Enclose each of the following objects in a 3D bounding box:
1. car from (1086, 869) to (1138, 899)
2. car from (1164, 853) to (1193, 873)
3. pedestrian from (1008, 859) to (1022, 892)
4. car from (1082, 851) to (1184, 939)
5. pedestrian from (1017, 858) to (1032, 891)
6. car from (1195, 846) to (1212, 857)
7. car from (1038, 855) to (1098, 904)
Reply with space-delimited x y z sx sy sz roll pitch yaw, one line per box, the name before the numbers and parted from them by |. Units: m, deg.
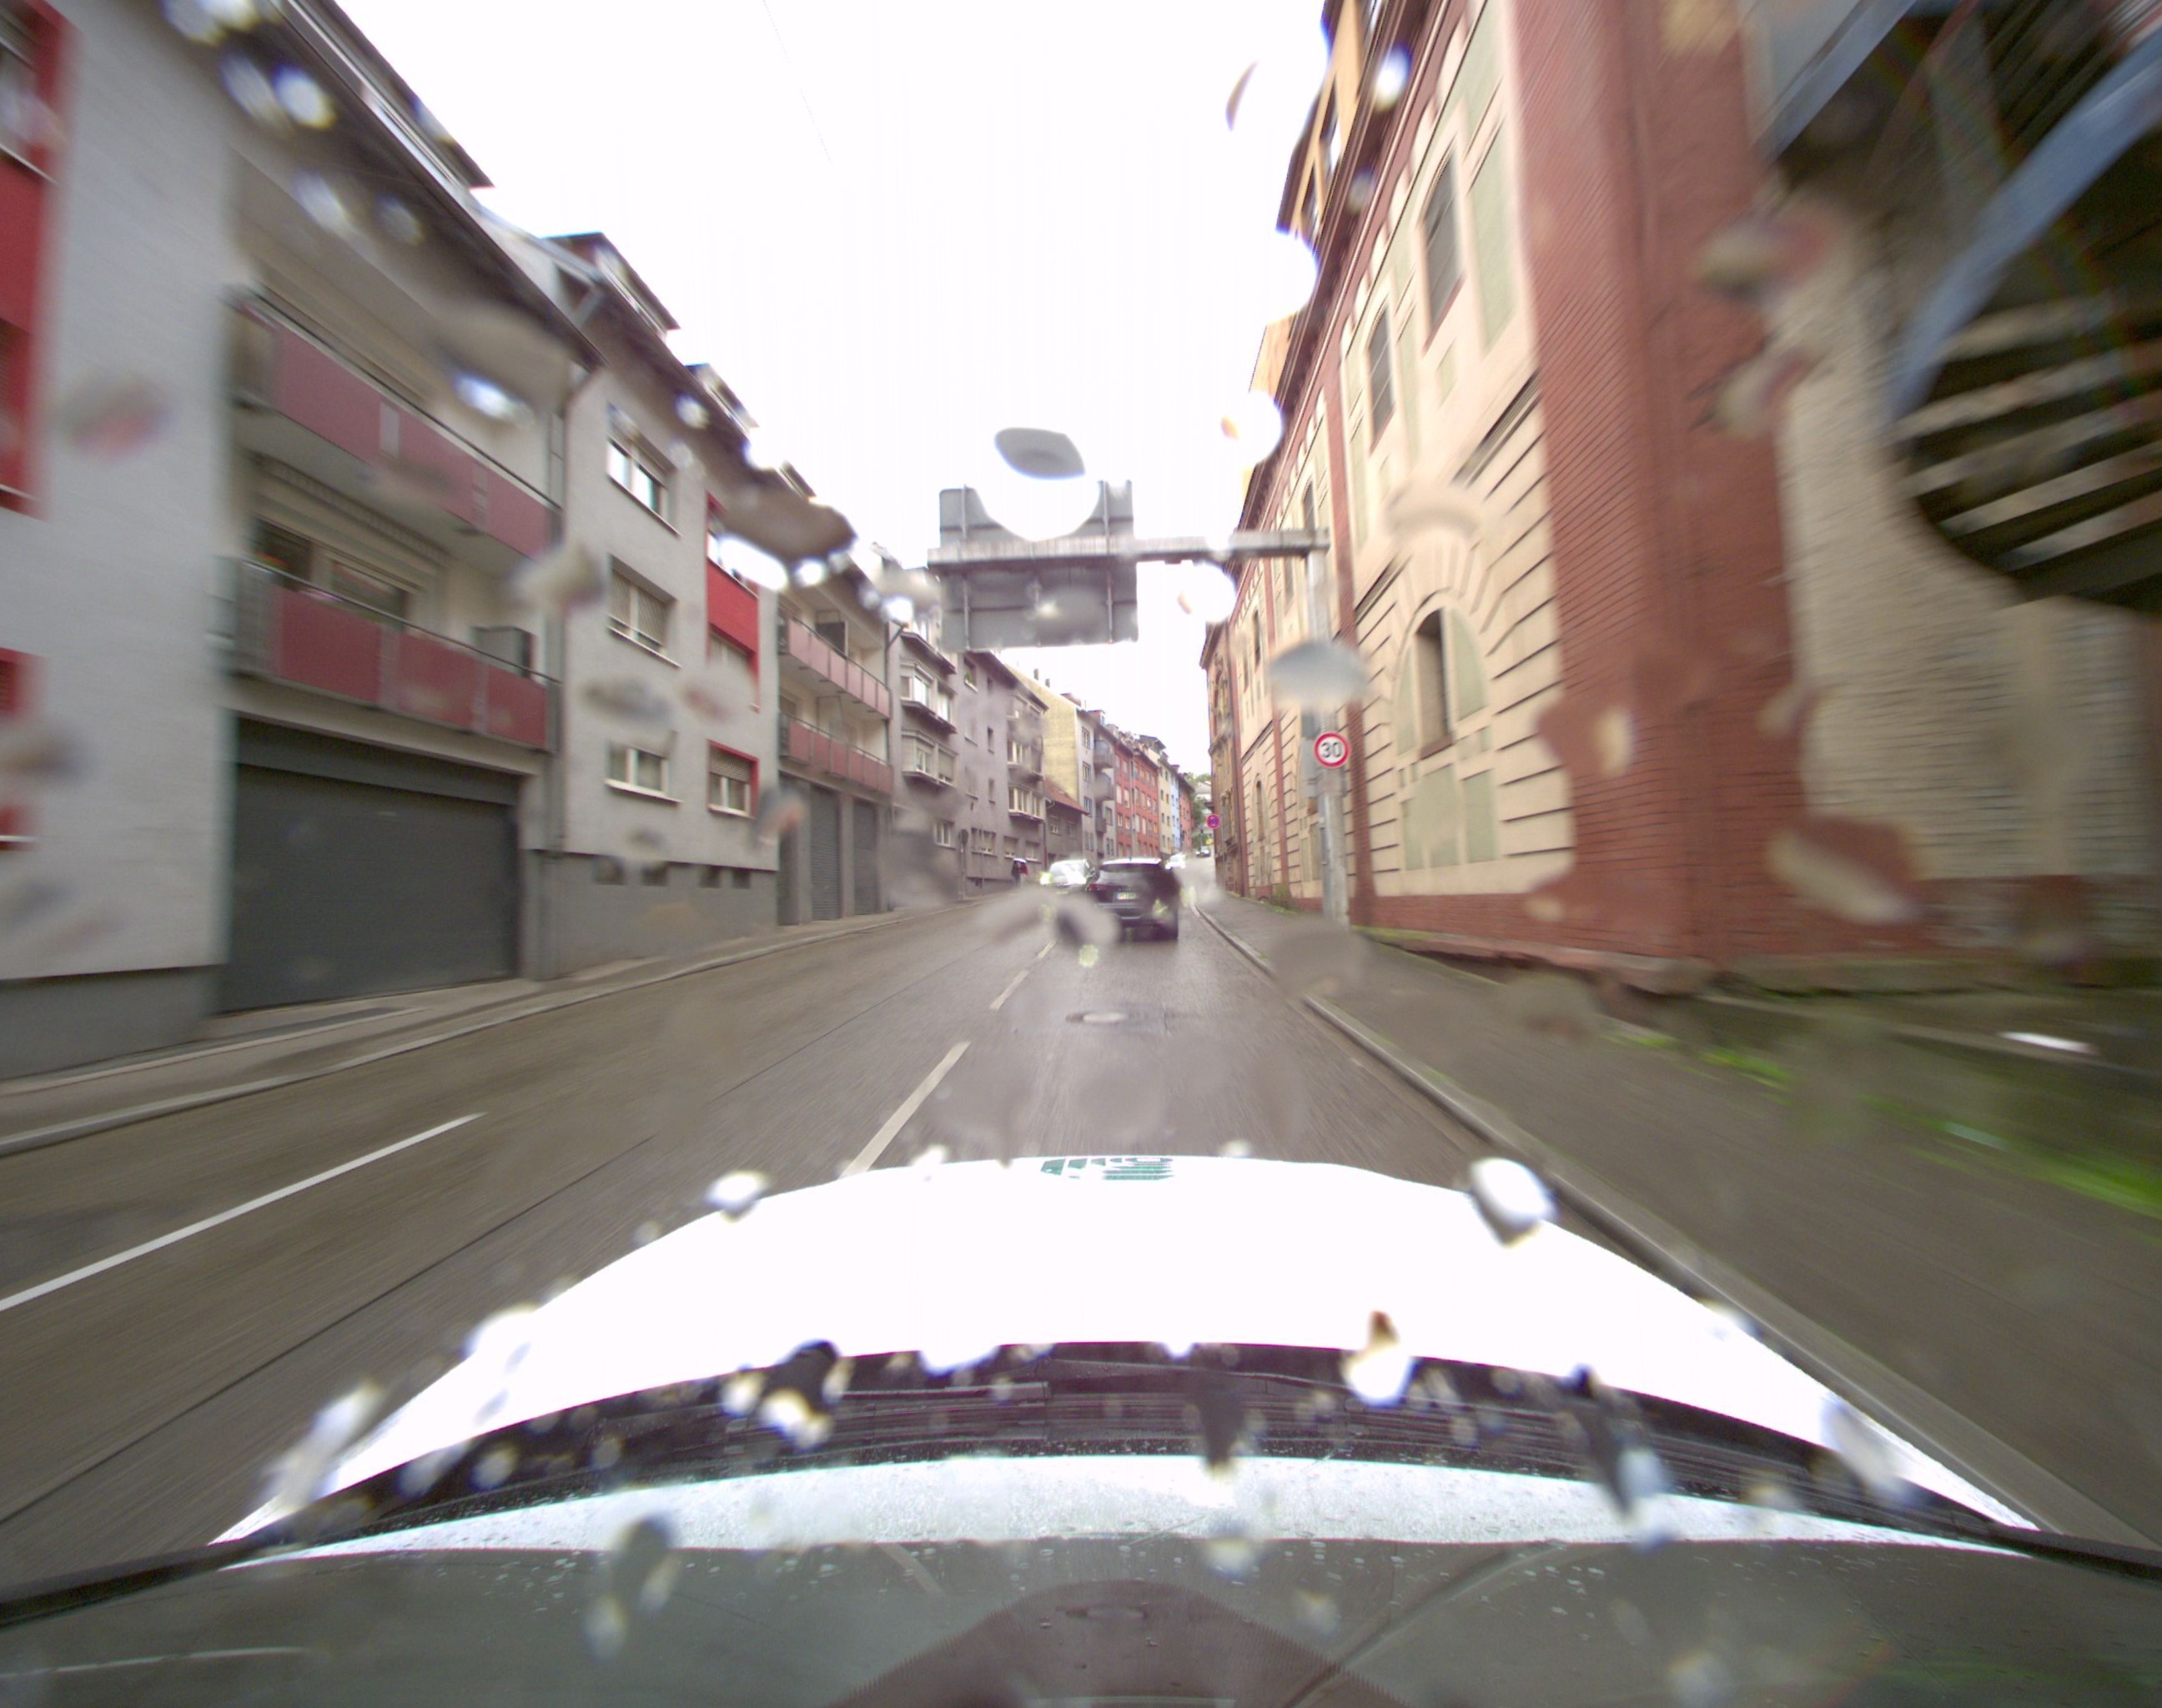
car | 1.769 1.670 45.294 1.780 1.510 4.018 -4 -3 18
car | 8.345 0.755 69.332 1.751 1.576 4.053 -4 -1 16
pedestrian | -3.615 1.156 44.551 0.520 1.776 0.624 -4 0 9
car | 1.042 0.789 16.915 1.873 1.594 3.923 0 -1 2
pedestrian | -3.083 1.122 44.471 0.520 1.776 0.624 -4 0 9
car | 16.516 -0.368 109.570 1.631 1.378 3.869 -5 0 18
car | -0.424 0.936 31.239 1.755 1.657 3.993 -3 -1 6
